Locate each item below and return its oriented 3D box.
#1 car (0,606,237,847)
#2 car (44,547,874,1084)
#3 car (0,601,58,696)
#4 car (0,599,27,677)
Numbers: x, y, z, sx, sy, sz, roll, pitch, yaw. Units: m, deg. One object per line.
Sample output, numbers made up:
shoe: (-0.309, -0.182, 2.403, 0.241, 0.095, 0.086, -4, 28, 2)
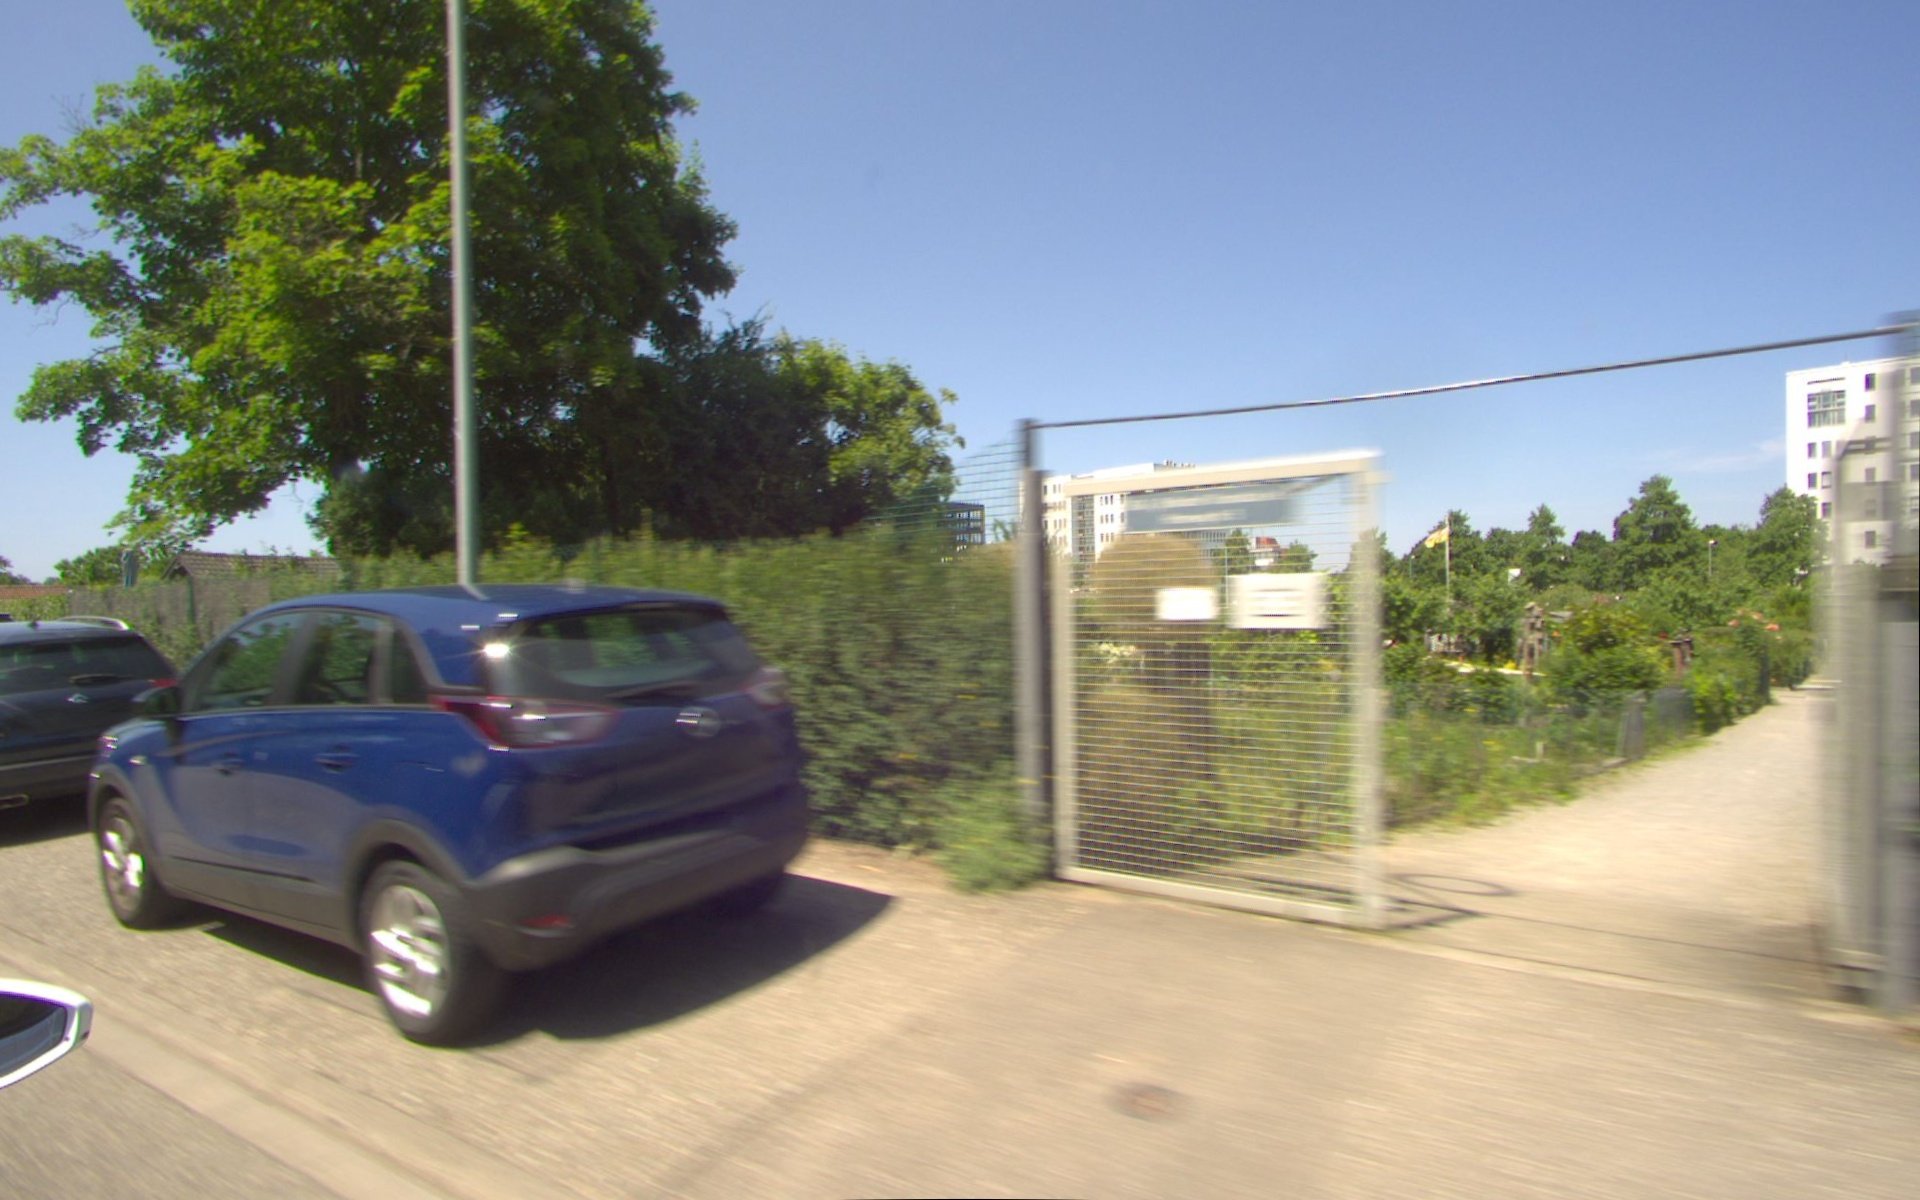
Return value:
car: (-7.999, 0.872, 8.196, 4.599, 1.502, 1.784, -1, 3, 33)
car: (-2.579, 0.653, 4.878, 4.071, 1.625, 1.785, 0, 1, 33)
car: (-19.460, 1.007, 17.969, 1.887, 1.728, 4.457, -1, 3, 33)
car: (-23.215, 0.971, 21.543, 1.829, 1.722, 4.240, 0, 3, 36)
